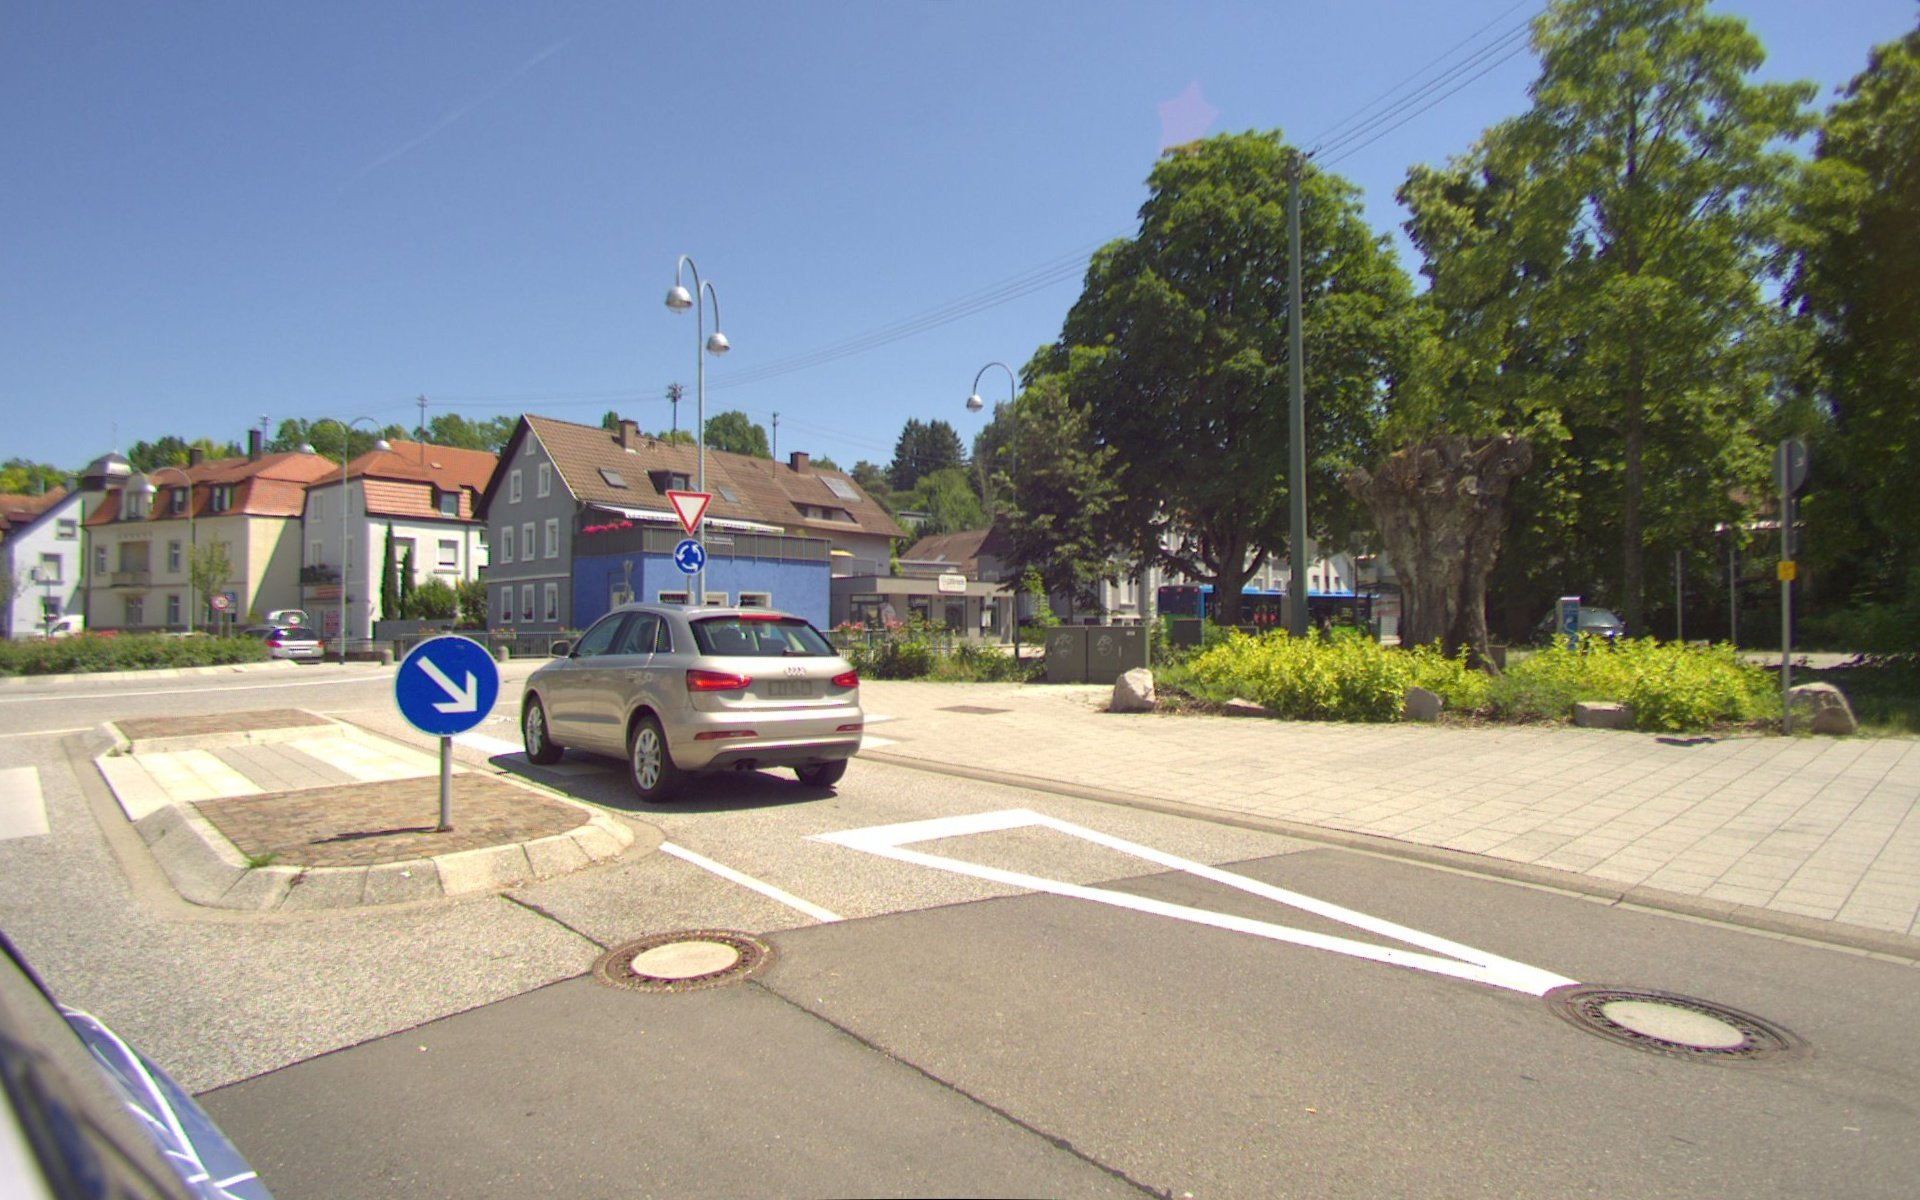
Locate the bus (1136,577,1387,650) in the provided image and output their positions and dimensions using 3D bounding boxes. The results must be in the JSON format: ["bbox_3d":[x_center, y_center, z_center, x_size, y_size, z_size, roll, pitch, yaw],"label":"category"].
[{"bbox_3d":[16.069,0.693,52.051,17.791,3.195,3.723,1,0,-42],"label":"bus"}]

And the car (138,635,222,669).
[{"bbox_3d":[-35.502,2.353,46.048,4.063,1.402,1.593,-2,1,30],"label":"car"}]

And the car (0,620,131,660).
[{"bbox_3d":[-66.021,2.916,74.830,2.373,2.764,6.964,-2,-2,35],"label":"car"}]

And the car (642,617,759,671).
[{"bbox_3d":[-7.332,1.217,28.937,1.536,1.423,3.698,-1,-1,17],"label":"car"}]

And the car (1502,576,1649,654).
[{"bbox_3d":[17.328,0.434,28.736,1.976,2.029,3.992,-1,-1,6],"label":"car"}]

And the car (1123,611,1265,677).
[{"bbox_3d":[5.833,1.090,25.297,3.050,1.564,1.616,-2,-2,34],"label":"car"}]

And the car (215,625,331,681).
[{"bbox_3d":[-22.463,1.748,33.051,4.197,1.528,1.725,-6,-3,35],"label":"car"}]

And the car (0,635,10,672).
[{"bbox_3d":[-55.396,2.974,56.448,3.971,2.029,1.986,1,0,21],"label":"car"}]

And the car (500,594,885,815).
[{"bbox_3d":[-2.607,0.815,9.213,1.654,1.555,4.088,3,-4,-42],"label":"car"}]
